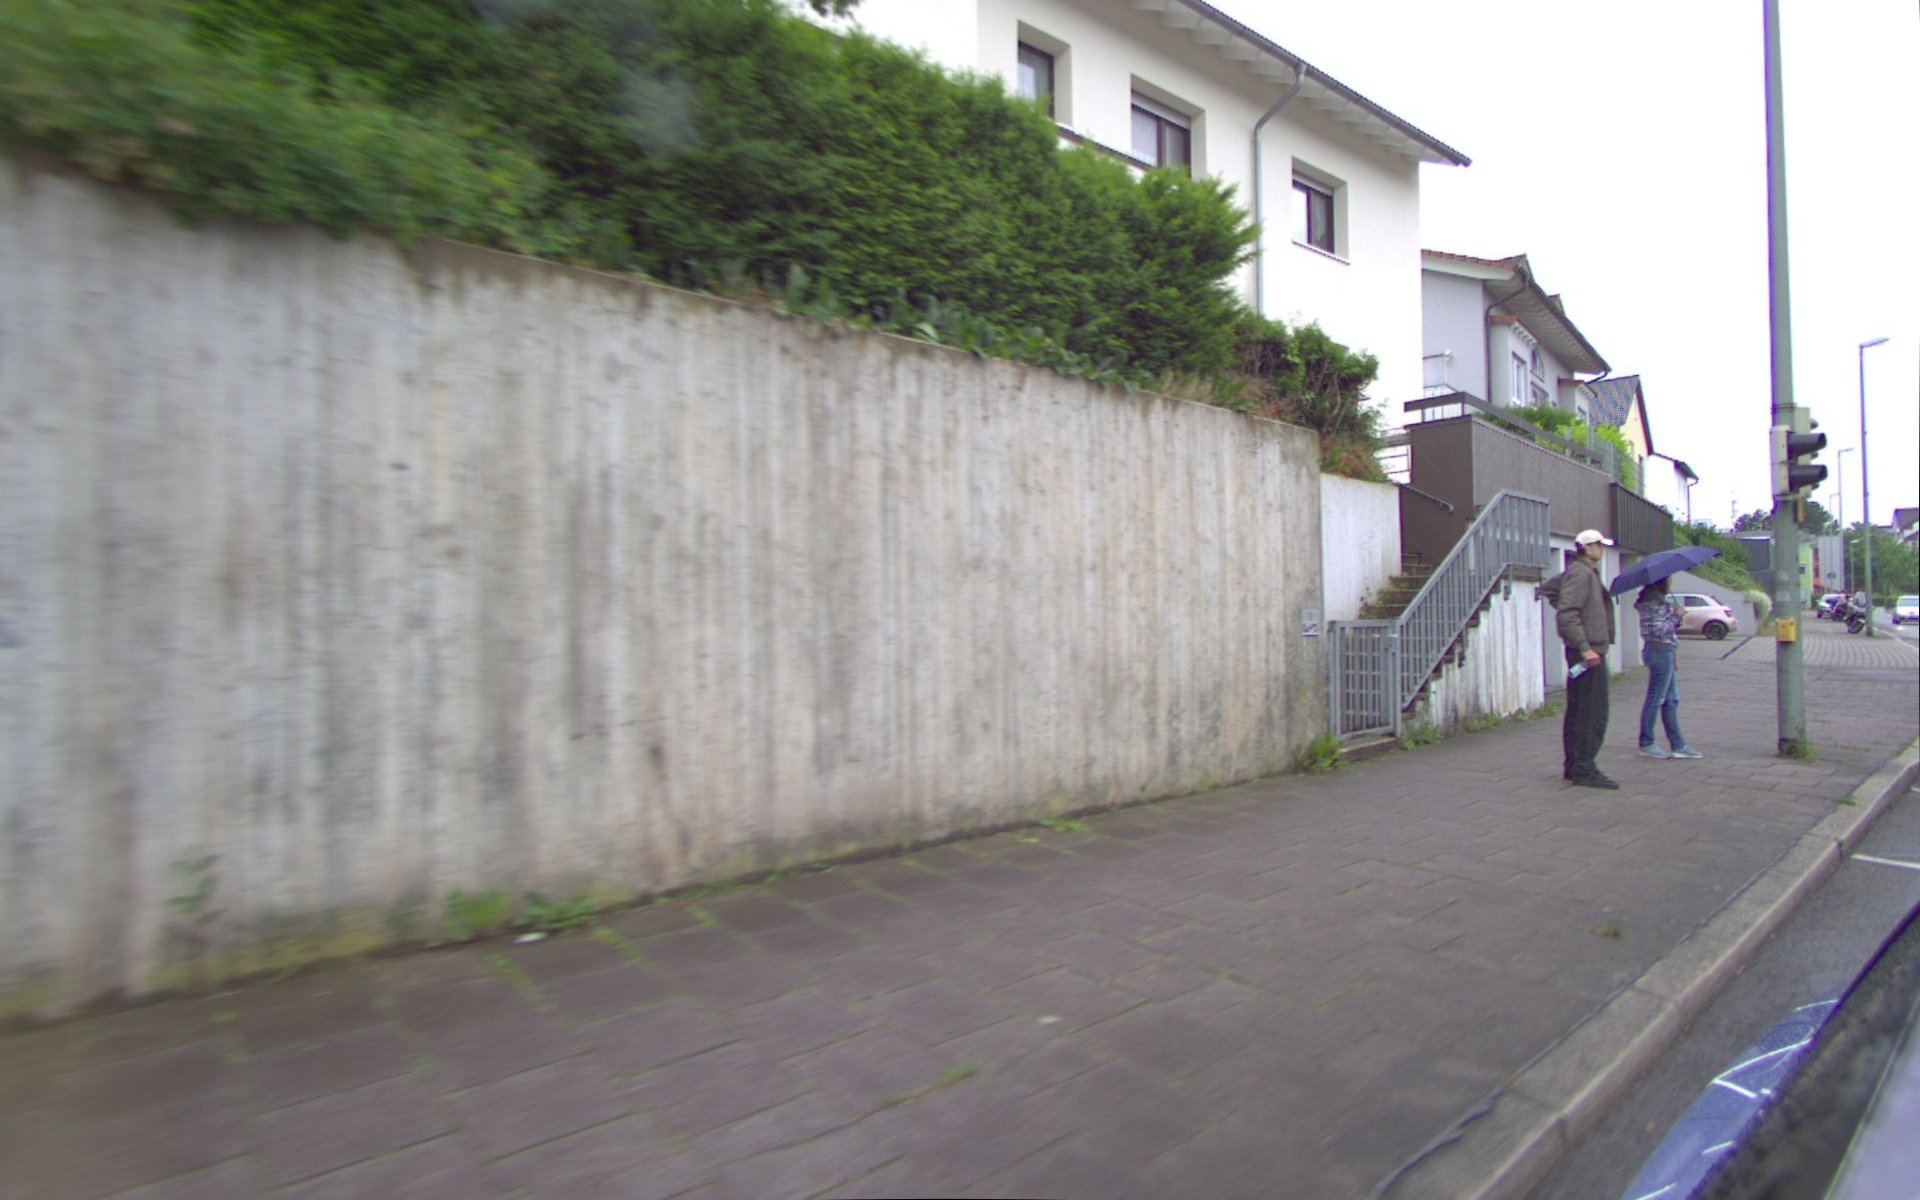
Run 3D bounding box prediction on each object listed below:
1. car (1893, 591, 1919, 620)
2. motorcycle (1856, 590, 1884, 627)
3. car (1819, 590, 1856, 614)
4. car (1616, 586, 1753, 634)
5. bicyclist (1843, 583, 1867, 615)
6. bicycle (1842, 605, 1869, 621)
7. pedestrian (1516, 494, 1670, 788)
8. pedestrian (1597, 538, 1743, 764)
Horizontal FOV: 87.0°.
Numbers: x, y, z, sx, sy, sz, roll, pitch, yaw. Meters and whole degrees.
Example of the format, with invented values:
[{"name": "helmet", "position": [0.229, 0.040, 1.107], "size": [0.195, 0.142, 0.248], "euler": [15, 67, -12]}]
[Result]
[{"name": "car", "position": [51.623, 0.323, 54.453], "size": [1.833, 1.500, 3.942], "euler": [1, 0, 39]}, {"name": "motorcycle", "position": [34.272, 0.287, 38.135], "size": [0.691, 1.341, 2.443], "euler": [1, 1, 40]}, {"name": "car", "position": [56.136, 0.117, 64.697], "size": [1.731, 1.508, 3.939], "euler": [1, 1, 42]}, {"name": "car", "position": [24.198, 0.315, 33.877], "size": [3.623, 1.504, 1.788], "euler": [0, 0, 38]}, {"name": "bicyclist", "position": [48.134, -0.053, 54.411], "size": [0.890, 1.663, 0.809], "euler": [0, 0, -39]}, {"name": "bicycle", "position": [48.117, 0.703, 54.383], "size": [2.193, 0.837, 0.733], "euler": [0, 1, -39]}, {"name": "pedestrian", "position": [4.729, 0.281, 7.567], "size": [0.721, 2.039, 0.798], "euler": [0, 0, -41]}, {"name": "pedestrian", "position": [6.101, 0.390, 8.698], "size": [0.994, 1.802, 0.795], "euler": [0, 1, -42]}]
